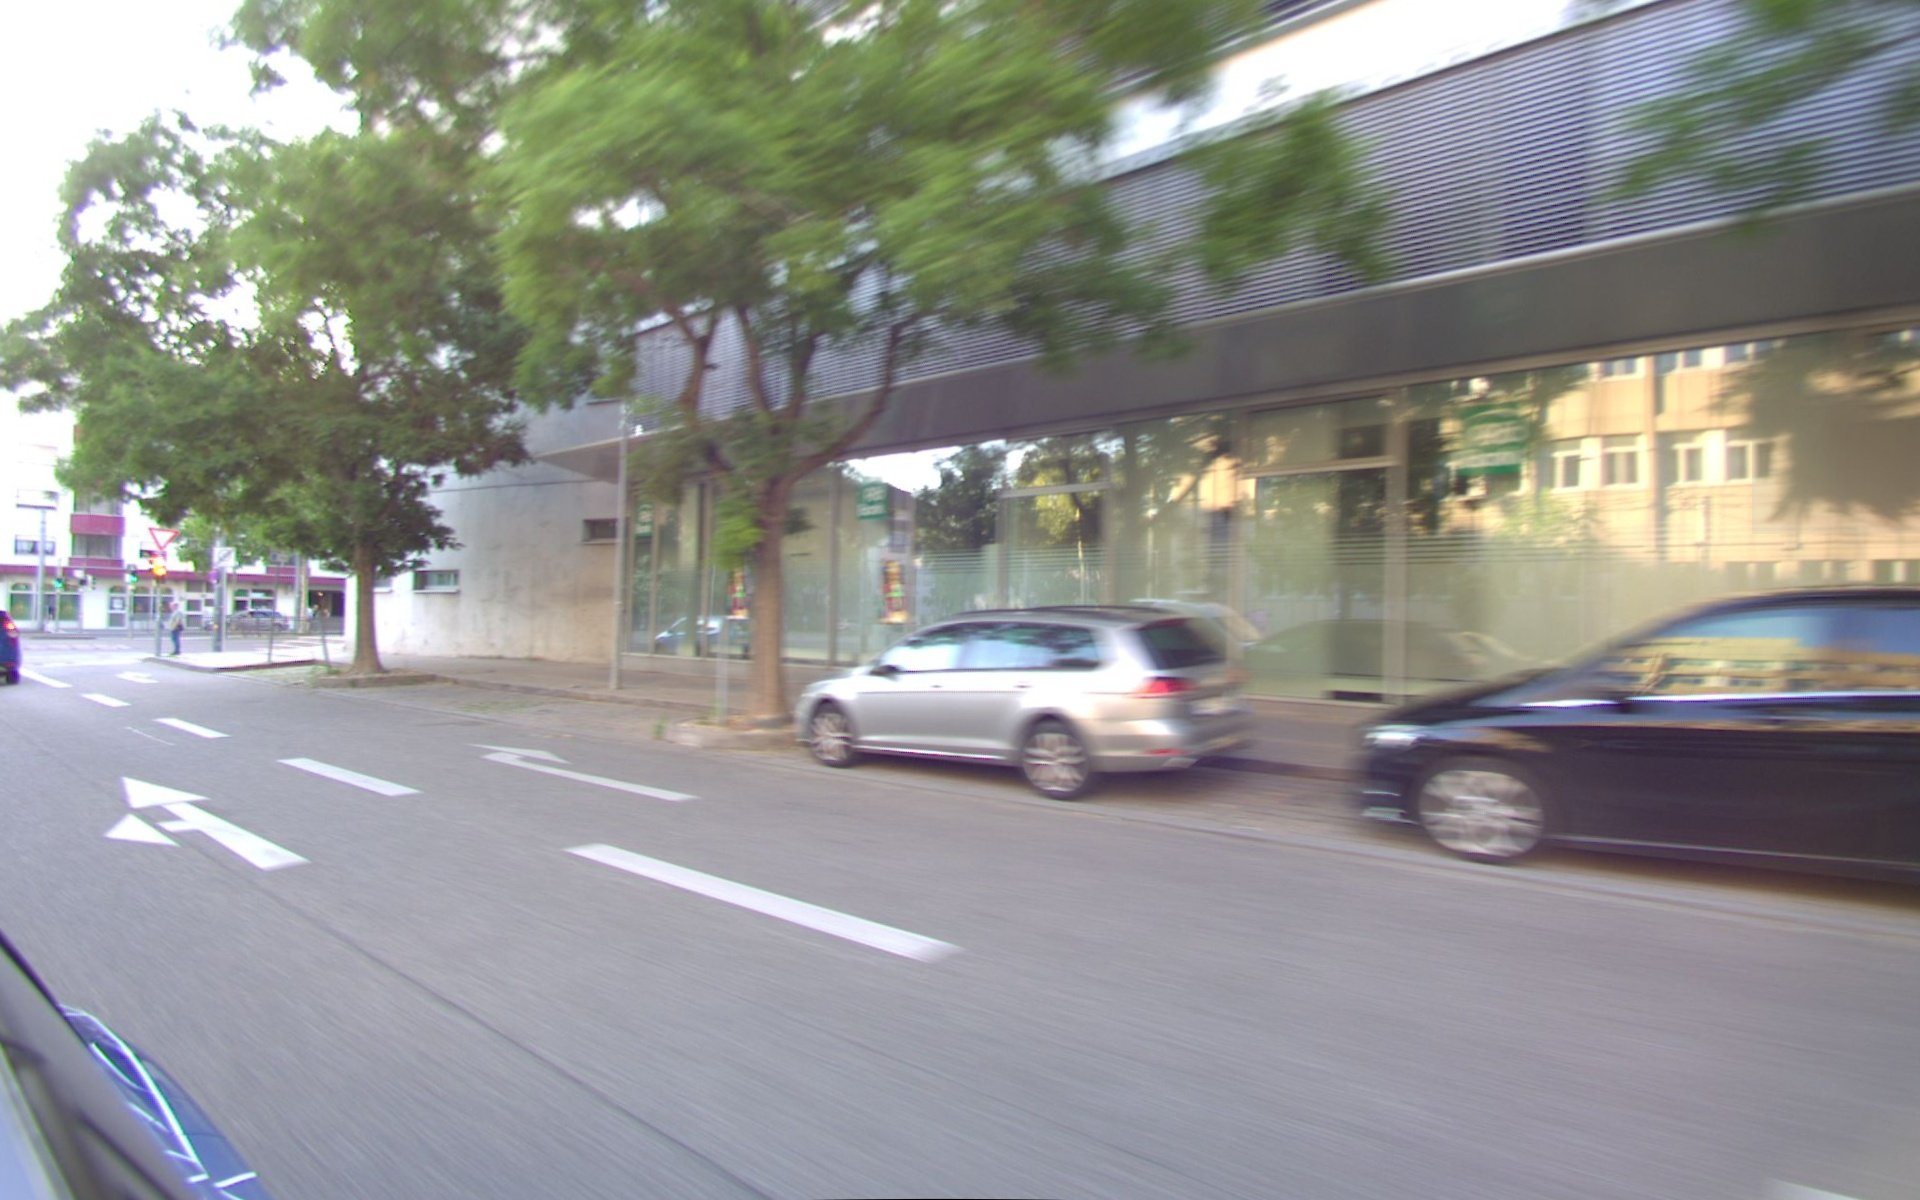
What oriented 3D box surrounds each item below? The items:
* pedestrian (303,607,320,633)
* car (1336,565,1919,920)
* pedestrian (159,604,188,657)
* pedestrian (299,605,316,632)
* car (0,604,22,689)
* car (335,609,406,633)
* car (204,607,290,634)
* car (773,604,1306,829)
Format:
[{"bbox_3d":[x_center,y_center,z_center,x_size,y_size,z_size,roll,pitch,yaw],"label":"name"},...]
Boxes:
[{"bbox_3d":[-46.081,1.432,71.884,0.692,1.820,0.824,0,-2,42],"label":"pedestrian"},{"bbox_3d":[4.506,0.618,5.323,4.469,1.580,1.573,-1,1,41],"label":"car"},{"bbox_3d":[-25.643,0.998,33.011,0.537,1.714,0.710,1,-2,-22],"label":"pedestrian"},{"bbox_3d":[-45.694,1.289,70.898,0.692,1.820,0.824,0,-2,42],"label":"pedestrian"},{"bbox_3d":[-20.970,0.921,21.050,4.272,1.691,1.729,0,-1,42],"label":"car"},{"bbox_3d":[-41.653,1.491,71.556,1.665,1.608,4.046,0,-2,41],"label":"car"},{"bbox_3d":[-44.473,1.266,63.177,1.665,1.608,4.046,0,-2,41],"label":"car"},{"bbox_3d":[0.474,0.805,8.976,4.624,1.472,1.686,-1,1,41],"label":"car"}]
